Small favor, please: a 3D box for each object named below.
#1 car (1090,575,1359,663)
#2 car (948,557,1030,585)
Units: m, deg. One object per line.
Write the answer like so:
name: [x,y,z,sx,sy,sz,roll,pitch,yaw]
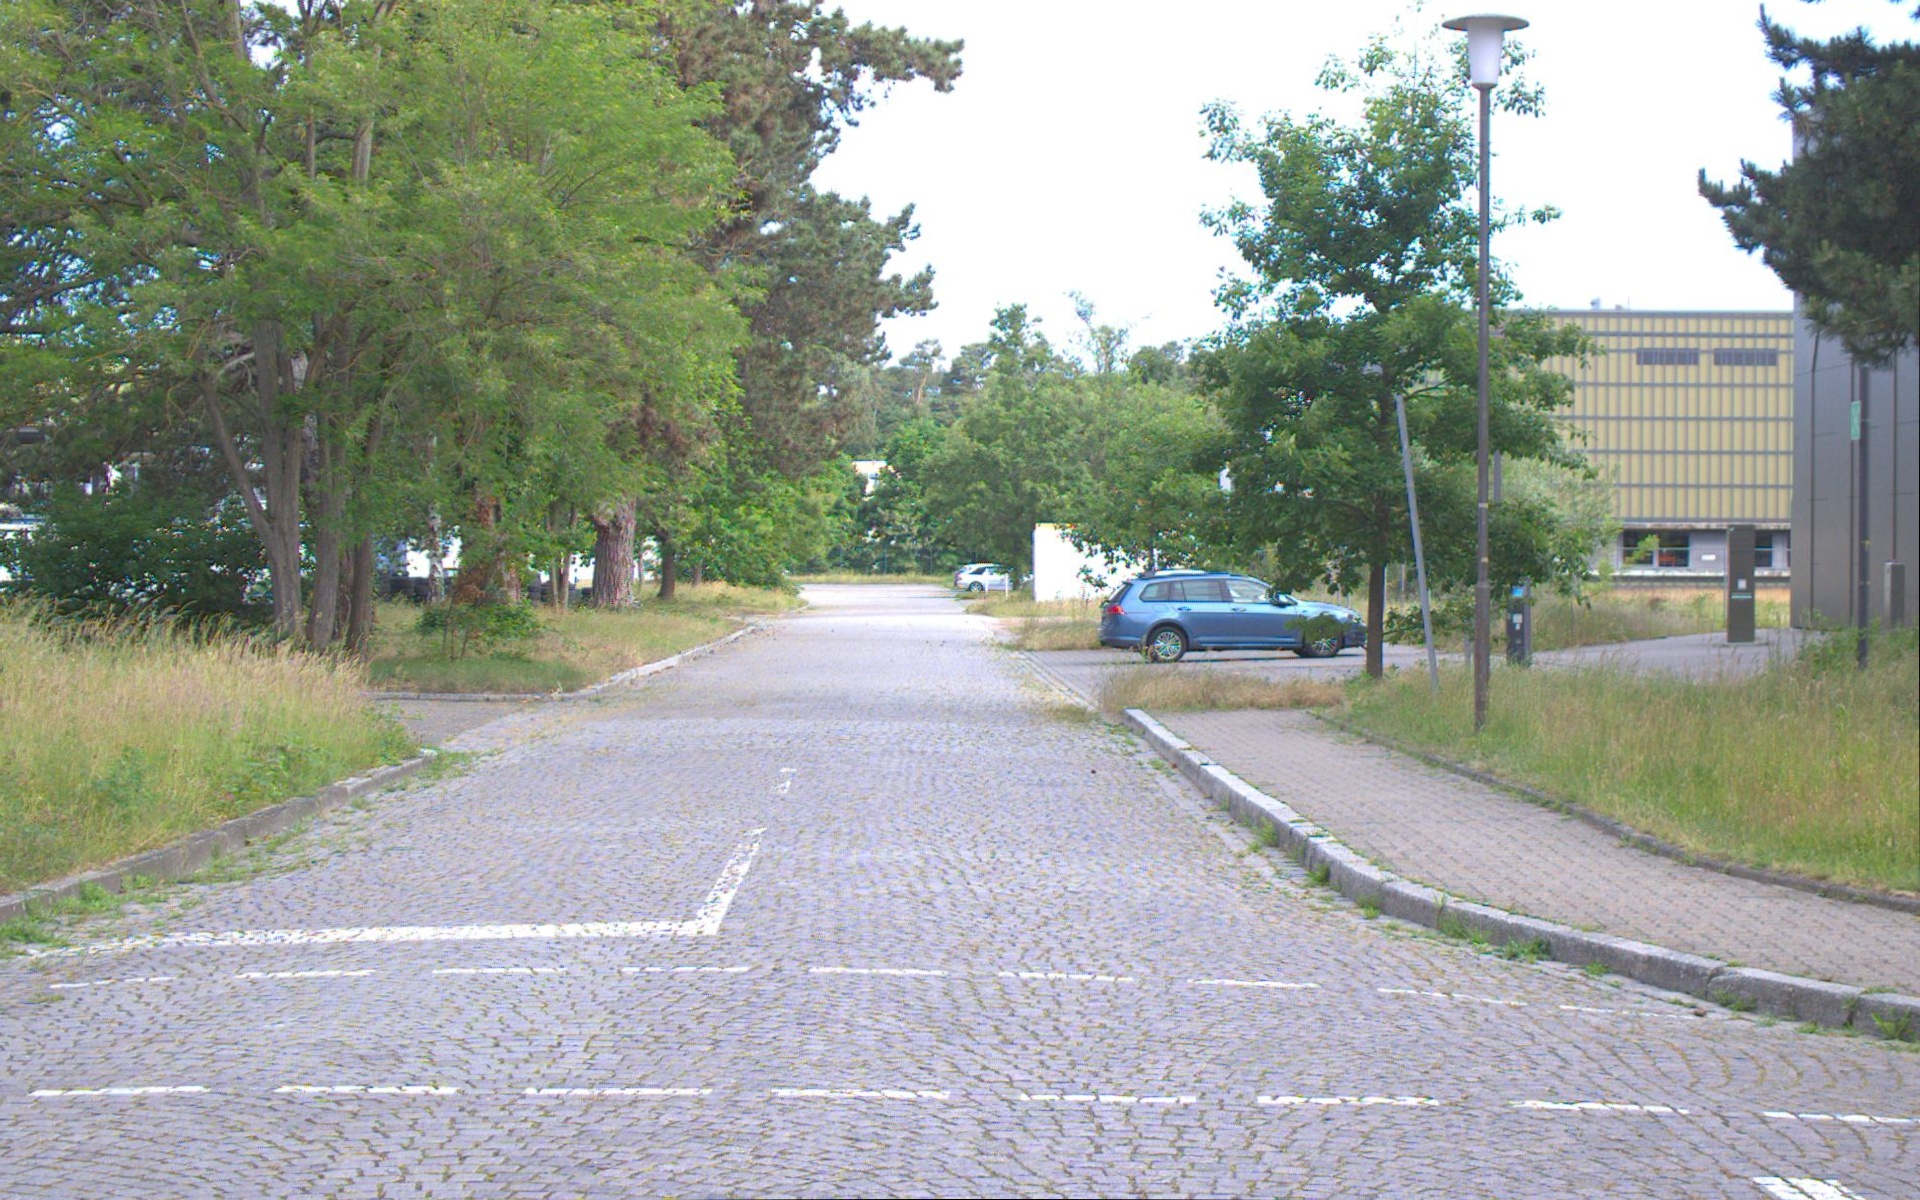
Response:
car: [4.465,0.310,58.458,4.343,1.417,2.000,0,1,-3]
car: [1.461,-1.482,175.494,3.986,1.393,2.000,0,1,-6]
